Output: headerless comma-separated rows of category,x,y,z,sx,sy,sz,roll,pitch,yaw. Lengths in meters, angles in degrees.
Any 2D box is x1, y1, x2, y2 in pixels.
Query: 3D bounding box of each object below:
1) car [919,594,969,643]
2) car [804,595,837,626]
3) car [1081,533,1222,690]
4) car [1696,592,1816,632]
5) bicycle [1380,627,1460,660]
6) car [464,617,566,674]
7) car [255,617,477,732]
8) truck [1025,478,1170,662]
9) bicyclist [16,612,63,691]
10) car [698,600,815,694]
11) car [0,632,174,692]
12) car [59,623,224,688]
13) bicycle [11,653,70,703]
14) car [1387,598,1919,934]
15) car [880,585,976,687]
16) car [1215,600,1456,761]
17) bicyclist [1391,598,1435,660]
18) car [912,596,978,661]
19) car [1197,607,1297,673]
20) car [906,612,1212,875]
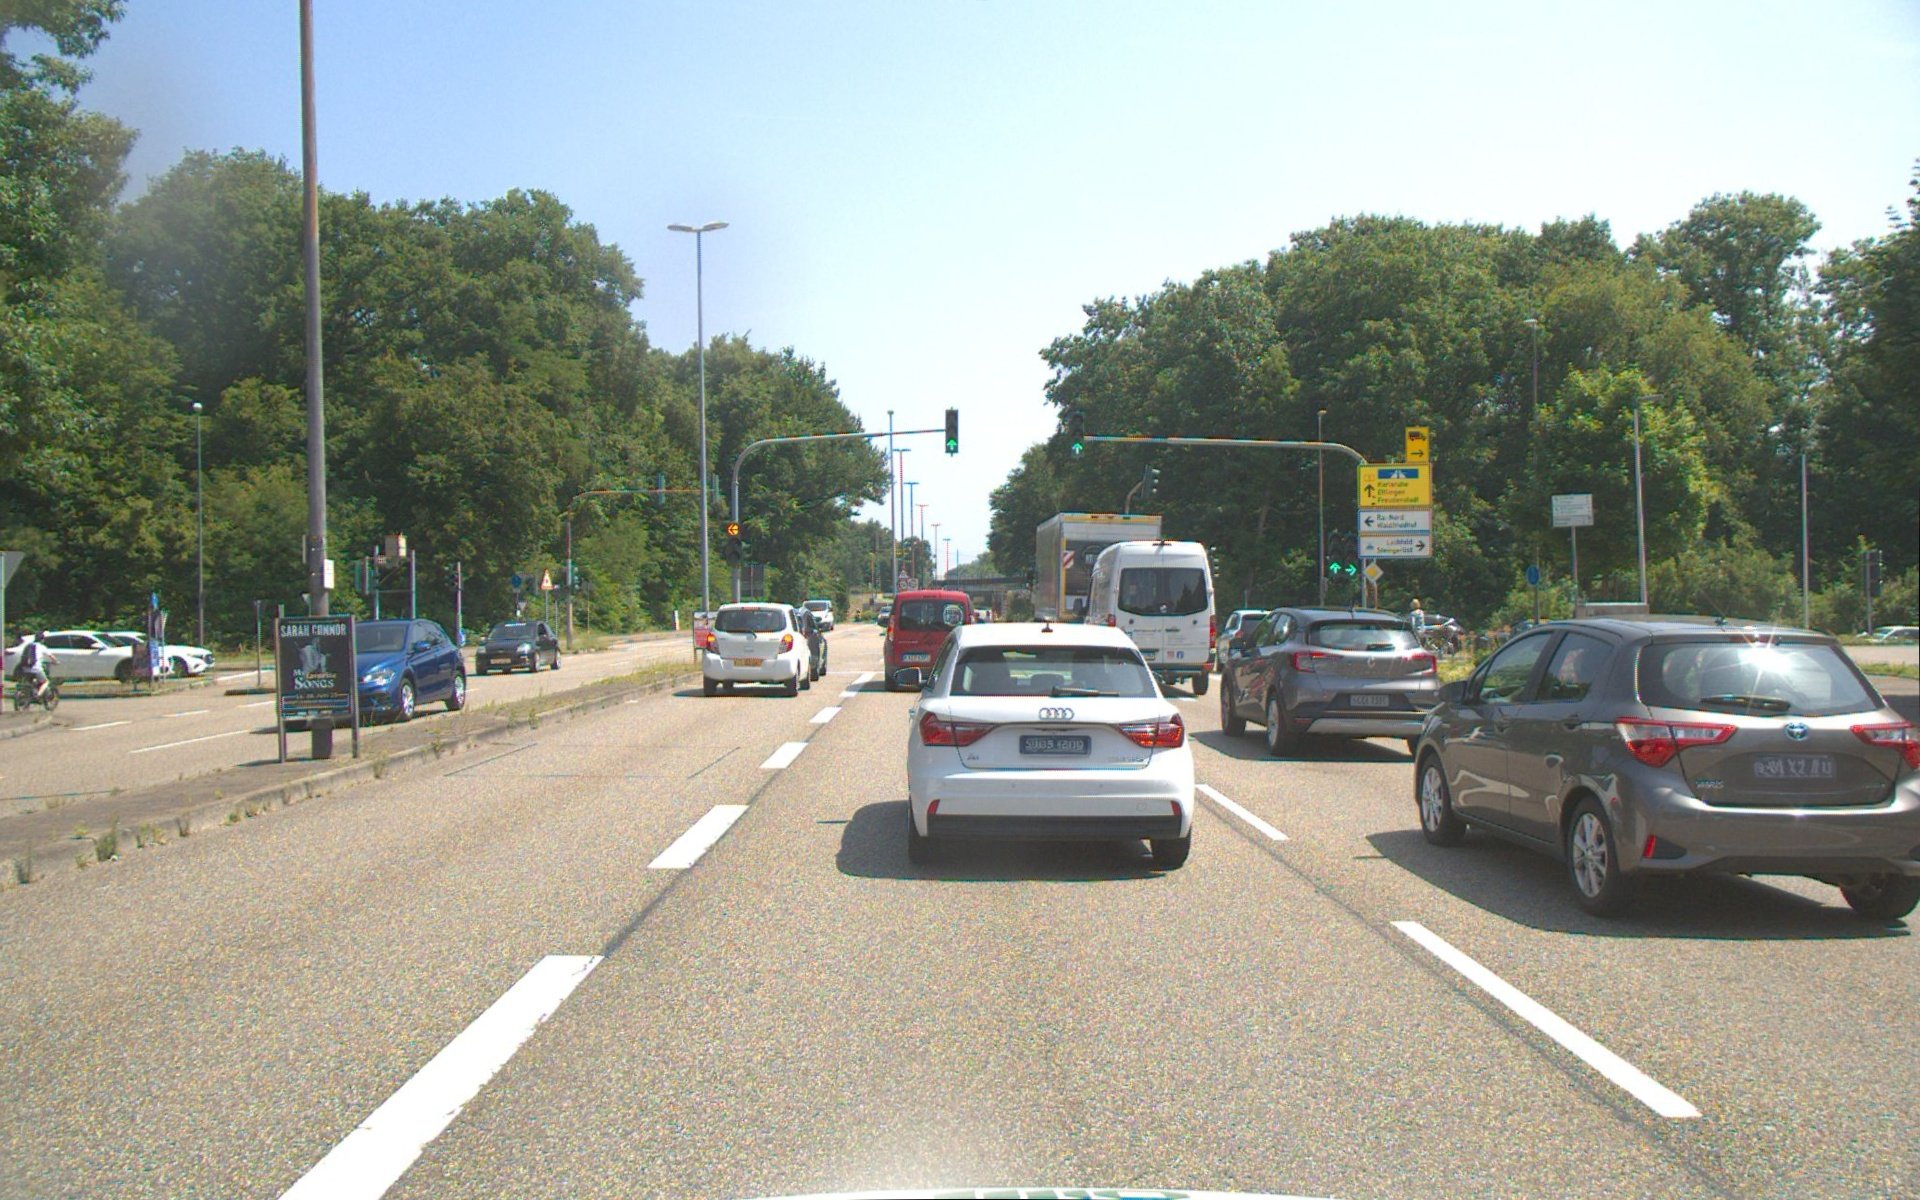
car,-0.597,0.649,58.506,1.677,1.660,4.090,0,0,-2
car,-8.950,0.652,106.272,1.834,1.893,3.999,-1,0,-1
car,3.461,0.198,30.791,1.990,2.691,4.844,0,0,-1
car,31.456,0.479,65.420,3.905,1.489,1.674,-1,0,0
bicycle,10.996,1.036,39.581,0.596,0.779,1.797,-1,0,-45
car,-12.426,1.249,46.417,1.768,1.359,3.999,-4,0,-1
car,-8.509,1.016,24.071,1.768,1.359,3.999,-4,0,-1
truck,3.628,-0.727,46.659,3.025,4.511,11.578,1,0,0
bicyclist,-19.686,1.084,35.376,0.597,1.659,0.921,-1,0,-11
car,-3.491,0.772,29.021,1.677,1.519,4.090,0,0,-2
car,-26.134,1.840,49.542,4.289,1.711,1.807,1,-1,-9
car,-26.353,1.753,53.360,4.290,1.710,1.807,-4,0,-9
bicycle,-19.664,1.649,35.394,0.606,0.986,1.655,-1,0,-11
car,3.975,0.789,9.749,1.677,1.504,4.090,3,0,-2
car,-0.623,0.628,30.939,1.677,1.779,4.090,0,0,-2
car,4.089,0.814,18.673,1.677,1.621,4.090,0,0,-2
bicyclist,10.870,0.690,39.701,0.815,1.464,0.595,-1,-1,45
car,-0.438,0.726,44.373,1.677,1.660,4.090,0,0,-2
car,7.101,0.955,41.318,1.677,1.573,4.090,0,0,-2
car,0.482,0.799,11.105,1.677,1.410,4.090,0,0,-2
